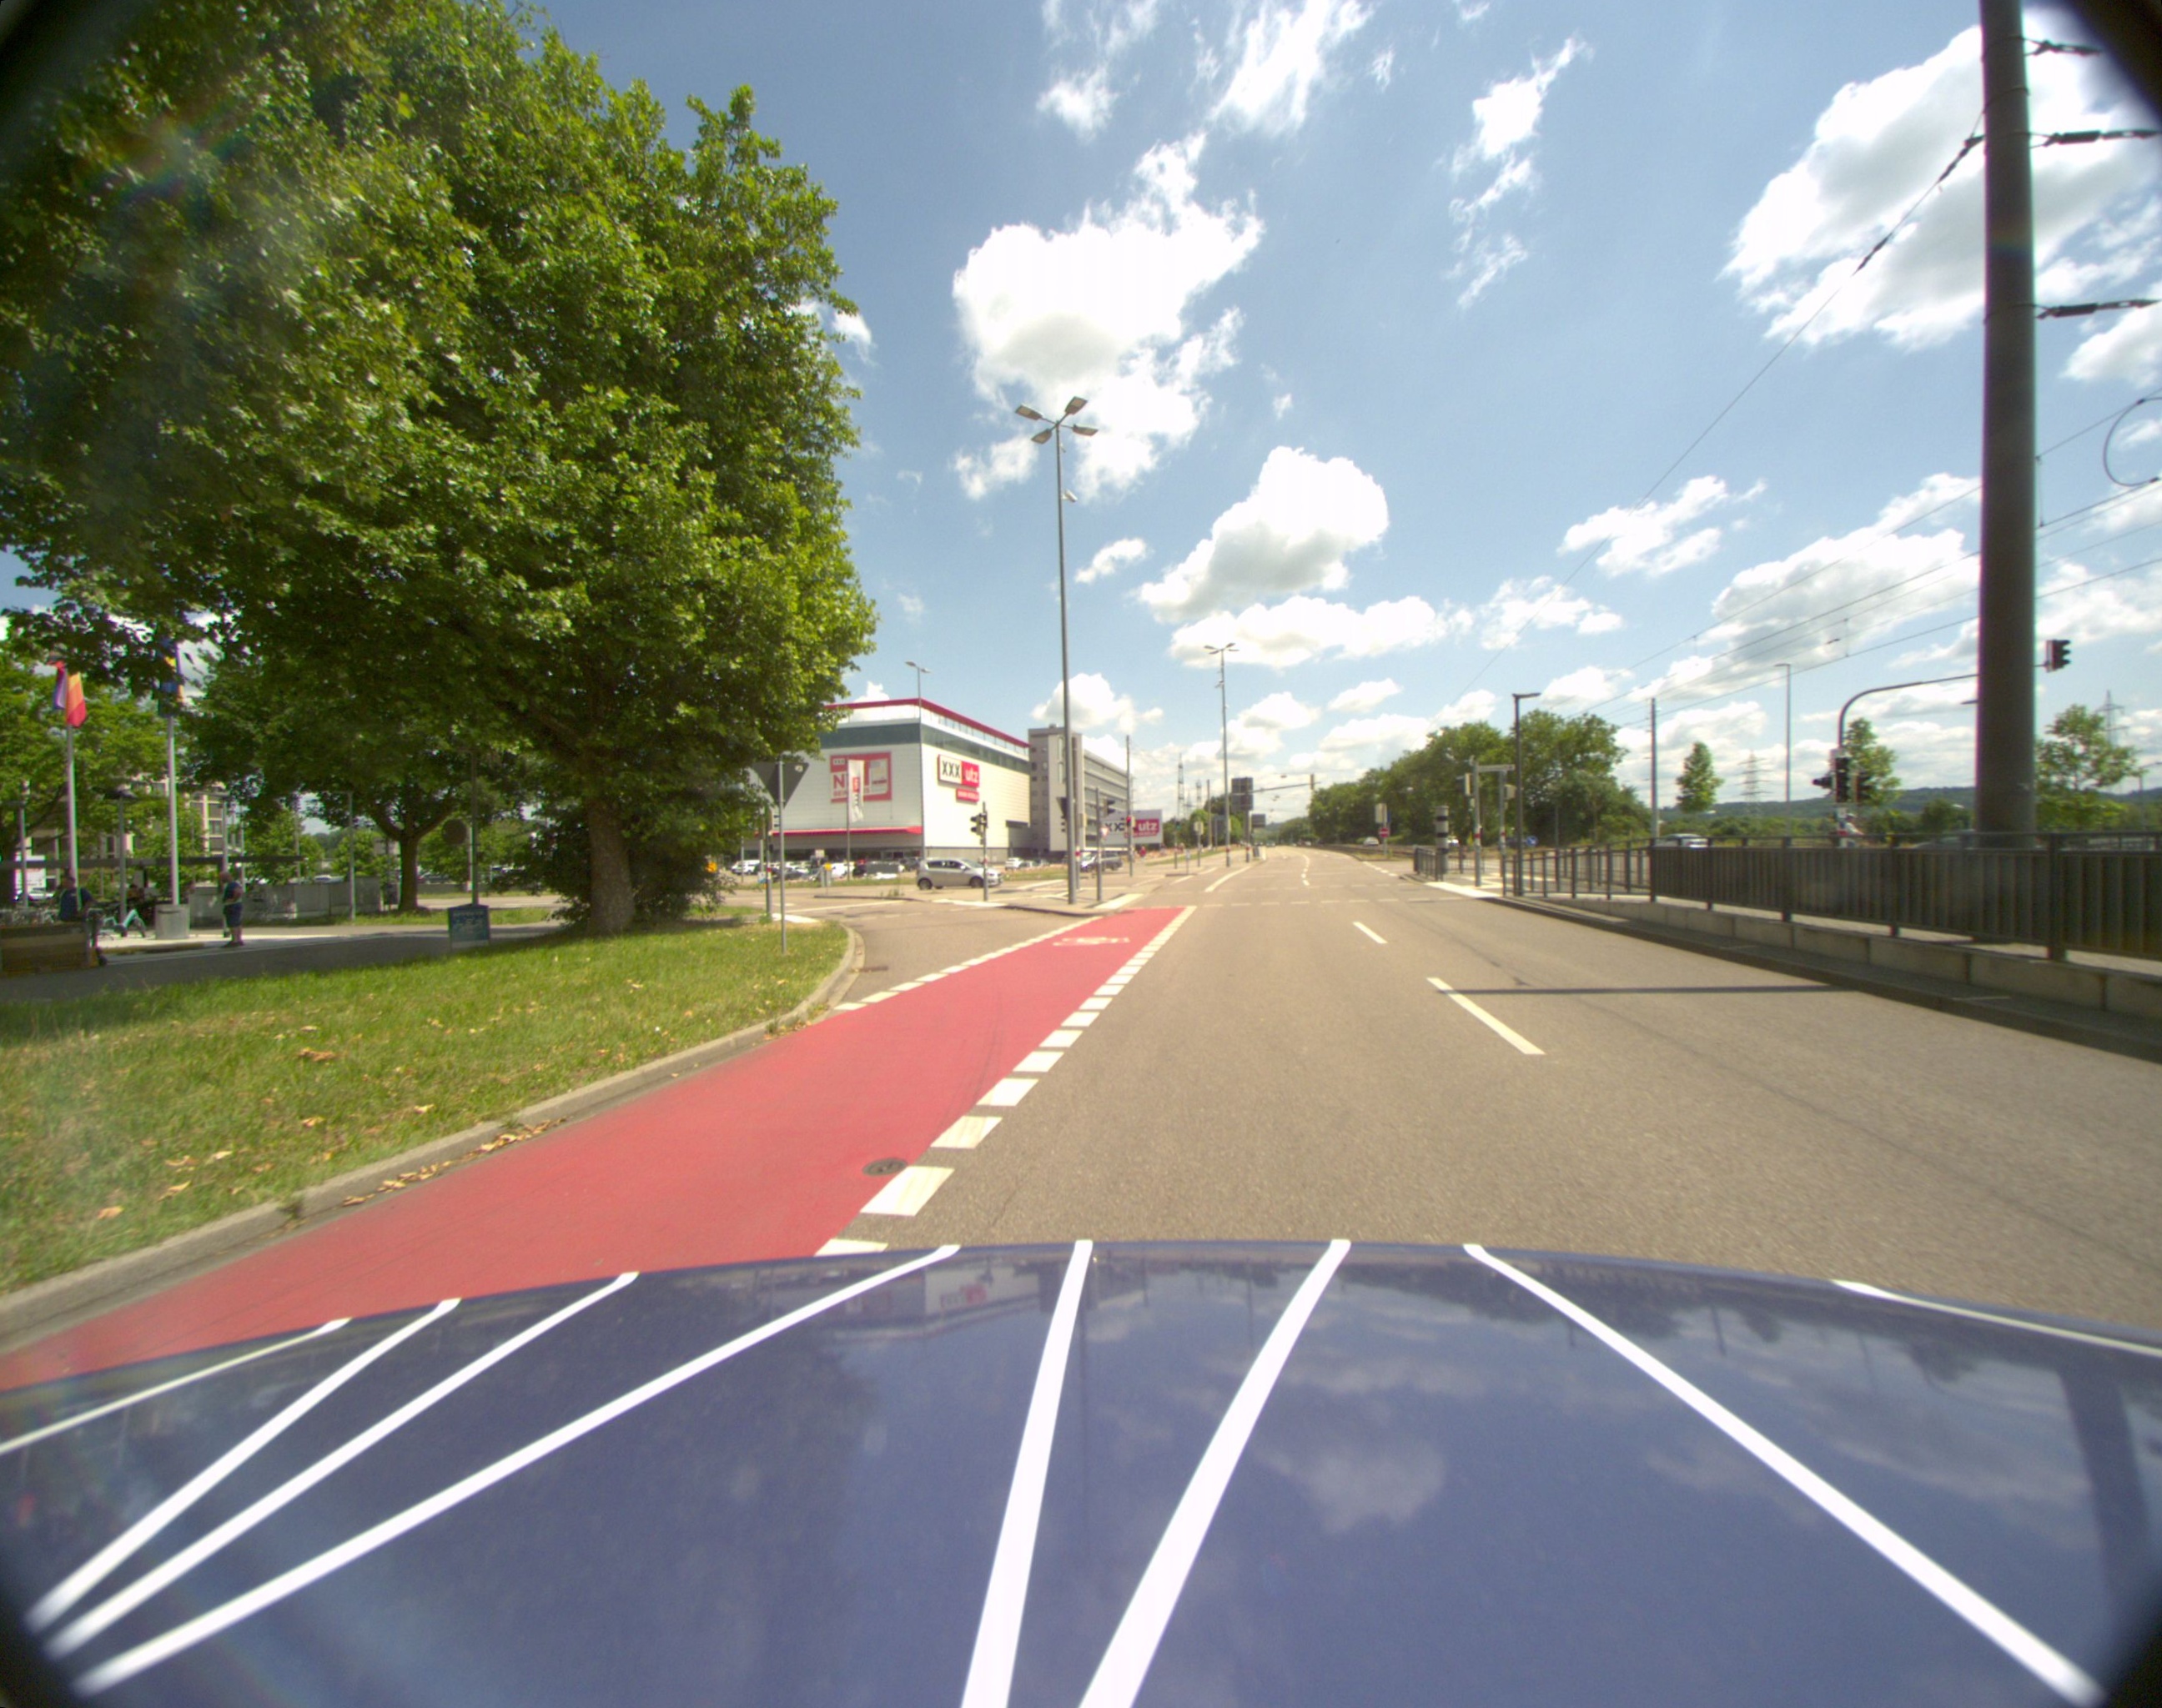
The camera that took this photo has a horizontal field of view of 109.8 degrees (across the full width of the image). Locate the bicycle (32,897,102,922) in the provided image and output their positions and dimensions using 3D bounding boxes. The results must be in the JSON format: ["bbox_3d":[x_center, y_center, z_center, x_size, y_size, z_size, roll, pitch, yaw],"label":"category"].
[{"bbox_3d":[-44.727,2.429,33.539,0.423,0.988,1.870,-2,-2,10],"label":"bicycle"}]

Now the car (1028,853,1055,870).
[{"bbox_3d":[-5.010,0.912,96.364,2.245,1.977,4.367,-2,0,14],"label":"car"}]

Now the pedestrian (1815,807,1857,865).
[{"bbox_3d":[23.218,-0.543,23.383,0.671,1.758,0.614,-2,1,16],"label":"pedestrian"}]

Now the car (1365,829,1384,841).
[{"bbox_3d":[49.727,-3.180,128.636,1.995,1.797,5.144,-2,0,33],"label":"car"}]

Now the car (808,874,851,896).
[{"bbox_3d":[-24.717,3.027,74.798,1.996,1.977,4.367,-2,0,14],"label":"car"}]

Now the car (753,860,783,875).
[{"bbox_3d":[-43.351,1.830,105.337,1.774,2.002,4.004,-2,0,14],"label":"car"}]

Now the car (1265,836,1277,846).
[{"bbox_3d":[42.502,-2.865,169.698,1.996,2.001,4.006,-2,0,21],"label":"car"}]

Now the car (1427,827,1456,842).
[{"bbox_3d":[44.078,-2.335,92.909,1.811,1.649,4.324,3,1,7],"label":"car"}]

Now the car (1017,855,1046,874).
[{"bbox_3d":[-5.512,1.157,84.990,1.996,1.977,4.367,-2,0,14],"label":"car"}]

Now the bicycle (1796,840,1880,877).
[{"bbox_3d":[23.277,0.147,23.386,1.719,1.081,0.622,-2,1,16],"label":"bicycle"}]

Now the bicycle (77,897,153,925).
[{"bbox_3d":[-38.003,2.224,29.923,0.423,0.989,1.869,0,0,10],"label":"bicycle"}]

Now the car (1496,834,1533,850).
[{"bbox_3d":[41.352,-1.128,72.539,1.668,1.400,3.894,-2,0,7],"label":"car"}]

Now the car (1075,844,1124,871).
[{"bbox_3d":[1.467,0.250,59.138,1.995,2.001,4.008,-2,0,31],"label":"car"}]

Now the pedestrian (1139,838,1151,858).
[{"bbox_3d":[5.846,-0.544,69.783,0.867,1.827,0.797,-3,3,-14],"label":"pedestrian"}]

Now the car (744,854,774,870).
[{"bbox_3d":[-48.716,1.244,115.062,1.866,2.293,4.576,-2,0,14],"label":"car"}]

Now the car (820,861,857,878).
[{"bbox_3d":[-27.883,1.799,87.457,1.996,1.828,4.367,-2,0,14],"label":"car"}]

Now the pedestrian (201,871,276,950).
[{"bbox_3d":[-20.989,1.377,18.944,0.971,1.891,1.012,-1,1,29],"label":"pedestrian"}]

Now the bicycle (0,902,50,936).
[{"bbox_3d":[-32.672,1.986,22.909,0.423,0.988,1.870,0,-1,10],"label":"bicycle"}]

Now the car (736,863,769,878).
[{"bbox_3d":[-45.829,2.339,106.007,1.996,1.977,4.367,0,0,14],"label":"car"}]

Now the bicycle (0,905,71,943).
[{"bbox_3d":[-30.480,2.015,21.735,0.464,0.989,1.869,-2,0,10],"label":"bicycle"}]

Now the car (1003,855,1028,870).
[{"bbox_3d":[-8.718,1.116,102.121,1.996,1.977,4.367,-2,0,14],"label":"car"}]

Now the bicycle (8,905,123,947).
[{"bbox_3d":[-28.248,1.982,21.178,0.423,0.989,1.870,-2,0,16],"label":"bicycle"}]

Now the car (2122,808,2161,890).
[{"bbox_3d":[24.359,-0.138,14.972,1.996,1.810,4.672,-2,0,14],"label":"car"}]

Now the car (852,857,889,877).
[{"bbox_3d":[-23.338,1.425,84.375,1.996,1.978,4.601,-1,1,14],"label":"car"}]

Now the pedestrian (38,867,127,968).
[{"bbox_3d":[-21.854,1.349,16.638,0.971,2.061,1.012,3,2,29],"label":"pedestrian"}]

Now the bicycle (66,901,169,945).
[{"bbox_3d":[-26.965,1.909,21.320,0.504,1.101,1.925,0,-1,-3],"label":"bicycle"}]

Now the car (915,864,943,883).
[{"bbox_3d":[-17.667,2.243,88.715,1.998,1.977,5.310,-2,0,2],"label":"car"}]

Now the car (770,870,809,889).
[{"bbox_3d":[-33.204,2.857,86.606,1.996,1.977,4.367,-2,0,14],"label":"car"}]

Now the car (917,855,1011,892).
[{"bbox_3d":[-5.412,0.891,35.380,3.827,1.461,1.901,-3,2,12],"label":"car"}]

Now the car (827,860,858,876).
[{"bbox_3d":[-31.956,1.894,101.869,1.996,1.977,4.090,-2,0,14],"label":"car"}]

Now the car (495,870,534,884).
[{"bbox_3d":[-86.592,3.435,116.213,1.996,1.977,4.367,-2,0,14],"label":"car"}]

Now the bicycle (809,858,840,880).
[{"bbox_3d":[-20.118,1.185,59.587,2.045,1.665,1.022,-2,0,14],"label":"bicycle"}]

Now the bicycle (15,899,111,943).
[{"bbox_3d":[-29.154,1.899,21.796,0.461,1.150,1.682,-2,-1,0],"label":"bicycle"}]

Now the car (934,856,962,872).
[{"bbox_3d":[-17.266,1.248,98.915,1.996,1.977,4.631,-2,0,13],"label":"car"}]

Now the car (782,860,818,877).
[{"bbox_3d":[-34.147,1.729,92.608,1.996,1.977,4.367,0,0,14],"label":"car"}]

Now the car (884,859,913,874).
[{"bbox_3d":[-24.278,1.635,101.290,1.996,1.977,4.090,-2,0,14],"label":"car"}]

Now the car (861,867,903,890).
[{"bbox_3d":[-18.929,2.286,72.490,1.996,1.977,4.367,-2,0,14],"label":"car"}]

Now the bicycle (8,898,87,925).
[{"bbox_3d":[-41.308,2.275,30.407,0.423,0.988,1.870,-1,-1,10],"label":"bicycle"}]

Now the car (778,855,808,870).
[{"bbox_3d":[-41.826,1.171,110.372,1.996,2.002,4.004,-2,0,14],"label":"car"}]

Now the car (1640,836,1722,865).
[{"bbox_3d":[39.328,-0.202,49.964,1.883,1.763,4.668,-2,0,4],"label":"car"}]

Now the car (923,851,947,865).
[{"bbox_3d":[-22.203,0.599,115.741,1.996,1.977,4.091,-2,0,16],"label":"car"}]
